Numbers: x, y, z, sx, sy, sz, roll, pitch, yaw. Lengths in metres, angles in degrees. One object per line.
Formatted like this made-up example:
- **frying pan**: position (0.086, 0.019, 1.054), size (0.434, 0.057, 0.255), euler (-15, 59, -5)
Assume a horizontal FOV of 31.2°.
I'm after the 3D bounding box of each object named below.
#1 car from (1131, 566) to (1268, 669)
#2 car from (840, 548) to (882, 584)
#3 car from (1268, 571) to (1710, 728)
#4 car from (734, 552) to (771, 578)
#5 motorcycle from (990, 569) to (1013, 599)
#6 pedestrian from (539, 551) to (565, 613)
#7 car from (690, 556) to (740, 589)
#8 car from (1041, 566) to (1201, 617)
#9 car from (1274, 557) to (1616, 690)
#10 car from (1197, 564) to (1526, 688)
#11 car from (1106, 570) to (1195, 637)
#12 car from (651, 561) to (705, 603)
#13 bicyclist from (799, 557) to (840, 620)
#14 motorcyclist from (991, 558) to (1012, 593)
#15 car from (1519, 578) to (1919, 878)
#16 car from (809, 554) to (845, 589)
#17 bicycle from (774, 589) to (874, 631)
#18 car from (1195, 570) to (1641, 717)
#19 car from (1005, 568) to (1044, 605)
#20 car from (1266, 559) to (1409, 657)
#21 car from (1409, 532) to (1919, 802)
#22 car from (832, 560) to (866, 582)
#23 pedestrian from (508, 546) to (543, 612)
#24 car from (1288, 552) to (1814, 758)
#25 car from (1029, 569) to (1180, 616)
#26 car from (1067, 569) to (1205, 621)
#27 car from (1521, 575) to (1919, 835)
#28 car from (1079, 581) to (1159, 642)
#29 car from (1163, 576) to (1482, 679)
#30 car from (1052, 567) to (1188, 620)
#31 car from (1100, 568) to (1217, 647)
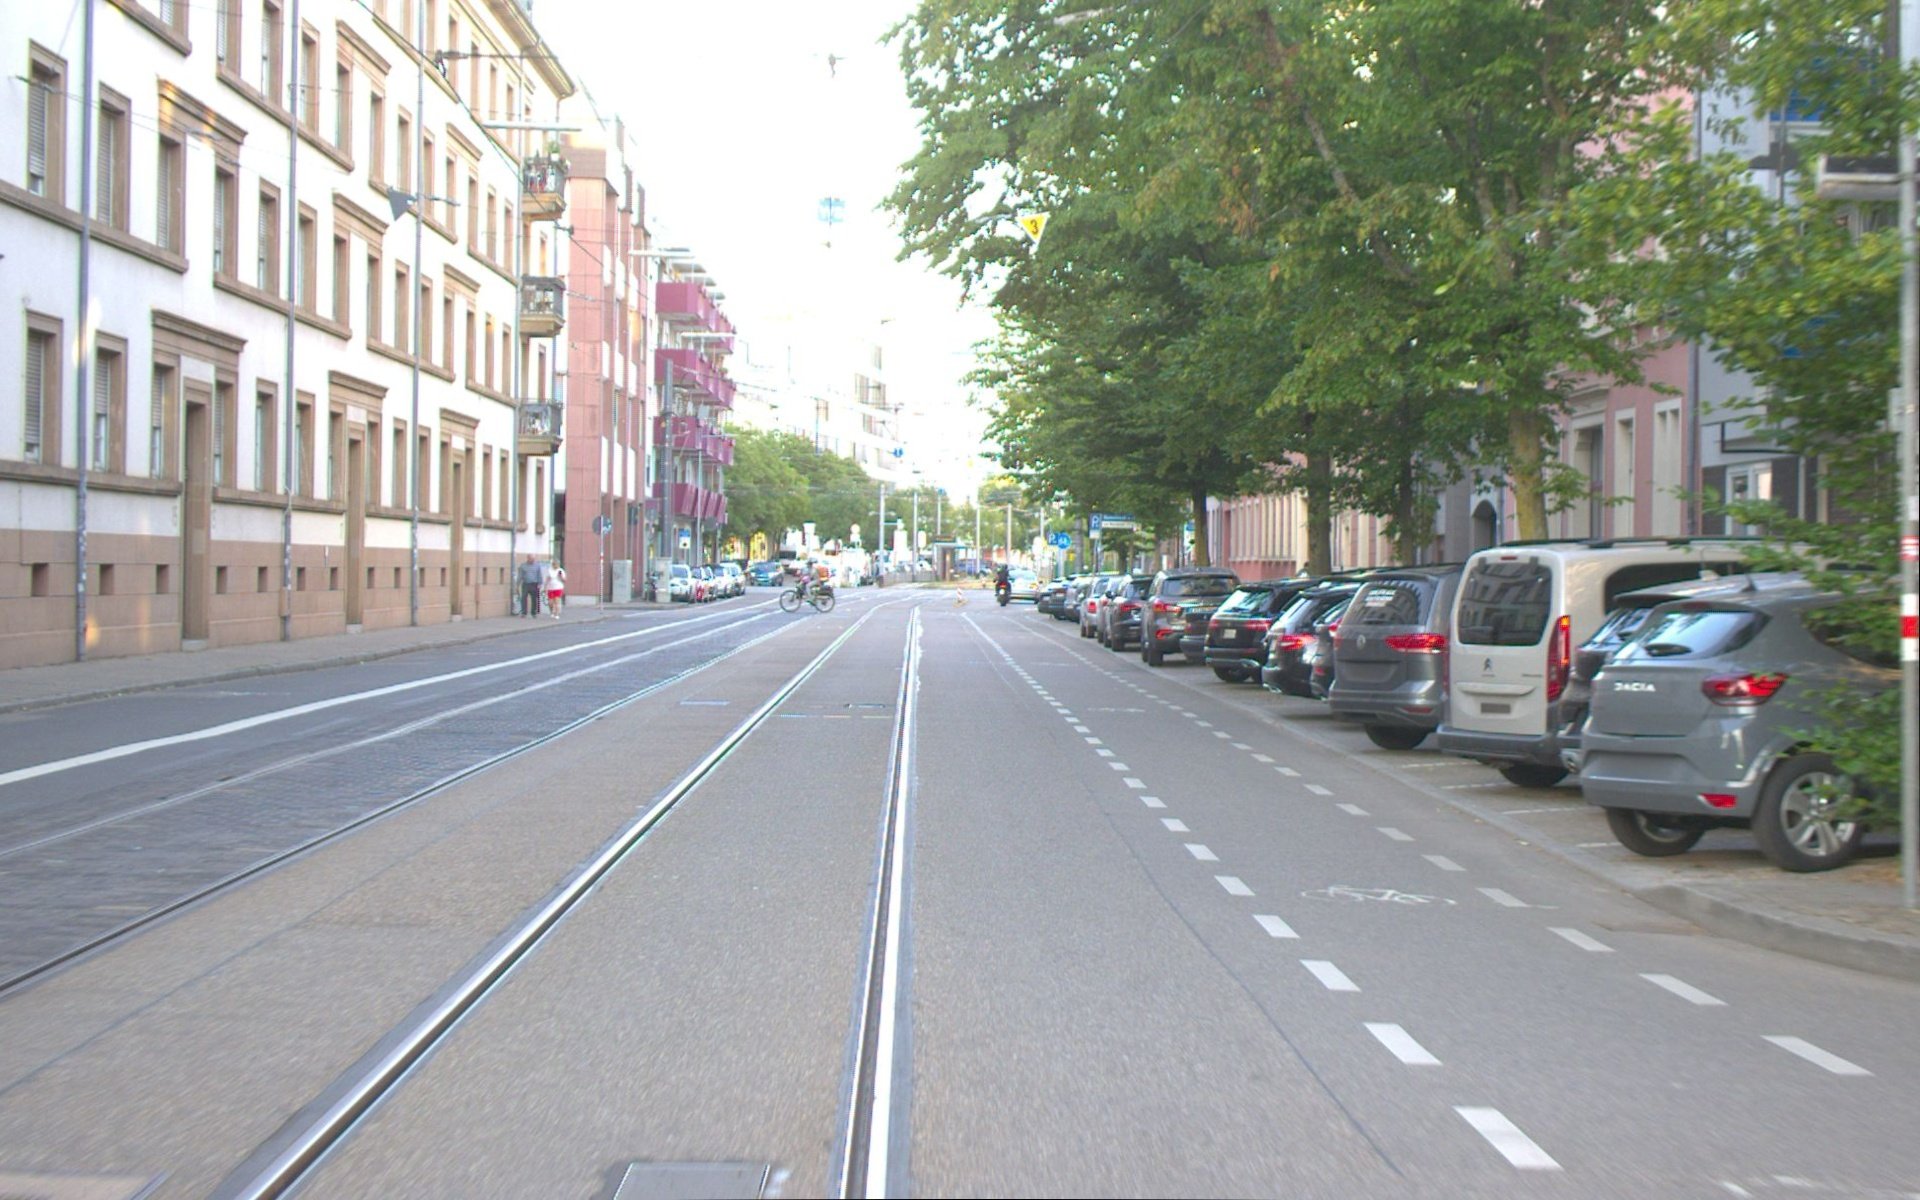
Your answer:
- **car**: position (3.993, 0.268, 57.876), size (1.879, 1.612, 4.262), euler (-2, 1, -1)
- **car**: position (-7.006, -2.413, 242.749), size (2.461, 2.474, 5.808), euler (1, 1, 3)
- **car**: position (5.240, 0.459, 34.141), size (3.986, 1.459, 1.720), euler (0, 1, -18)
- **car**: position (-14.138, -2.385, 234.615), size (1.683, 1.694, 4.238), euler (1, 1, 8)
- **motorcycle**: position (1.719, -0.668, 142.773), size (0.828, 1.236, 2.491), euler (1, 1, 3)
- **pedestrian**: position (-10.584, -0.468, 89.128), size (0.590, 1.604, 0.811), euler (1, 0, -3)
- **car**: position (-10.991, -1.230, 154.541), size (1.691, 1.409, 4.676), euler (3, 0, 2)
- **car**: position (4.943, -0.274, 105.606), size (4.443, 1.511, 2.064), euler (0, 1, -23)
- **car**: position (6.186, 0.273, 43.888), size (3.986, 1.588, 1.720), euler (-1, 2, -22)
- **car**: position (5.317, 0.319, 45.631), size (3.960, 1.548, 1.720), euler (0, 2, -18)
- **car**: position (4.102, 0.058, 74.693), size (1.780, 1.376, 4.691), euler (-1, 0, 2)
- **car**: position (-11.045, -0.703, 134.722), size (1.717, 1.550, 4.204), euler (2, 0, 0)
- **bicyclist**: position (-4.617, -0.377, 112.794), size (1.214, 2.007, 0.947), euler (1, 1, -9)
- **motorcyclist**: position (1.722, -1.017, 142.756), size (0.828, 1.468, 1.207), euler (1, 0, 3)
- **car**: position (5.357, 0.684, 19.306), size (3.986, 1.535, 1.780), euler (1, 1, -20)
- **car**: position (-6.010, -1.288, 154.943), size (1.559, 1.553, 3.755), euler (0, 1, -3)
- **bicycle**: position (-4.477, 0.334, 112.822), size (3.170, 1.349, 0.958), euler (0, 0, -9)
- **car**: position (4.844, 0.427, 36.451), size (4.376, 1.459, 1.720), euler (0, 1, -18)
- **car**: position (2.899, -0.618, 155.019), size (1.717, 1.550, 4.204), euler (2, 1, 1)
- **car**: position (6.342, 0.107, 58.088), size (1.879, 1.578, 4.021), euler (1, 1, -1)
- **car**: position (5.460, 0.424, 24.905), size (3.986, 1.809, 1.825), euler (-1, 1, -22)
- **car**: position (-7.650, -1.999, 237.188), size (1.683, 1.434, 4.125), euler (1, 1, 7)
- **pedestrian**: position (-11.282, -0.544, 89.269), size (0.795, 1.696, 0.981), euler (1, 0, -3)
- **car**: position (5.162, 0.433, 30.066), size (4.177, 1.690, 1.847), euler (0, 1, -21)
- **car**: position (4.702, -0.254, 111.569), size (4.603, 1.452, 1.711), euler (-1, 1, -25)
- **car**: position (4.996, -0.149, 97.765), size (3.554, 1.424, 1.669), euler (0, 1, -25)
- **car**: position (5.841, 0.655, 22.355), size (3.986, 1.561, 1.720), euler (1, 1, -22)
- **car**: position (3.694, 0.251, 80.368), size (1.619, 1.376, 3.776), euler (-1, 0, -1)
- **car**: position (5.123, 0.391, 48.542), size (4.248, 1.383, 1.621), euler (1, 1, -26)
- **car**: position (4.668, -0.211, 100.439), size (3.554, 1.511, 1.744), euler (0, 1, -25)
- **car**: position (3.835, 0.129, 67.181), size (1.993, 1.484, 5.036), euler (0, 0, 0)
